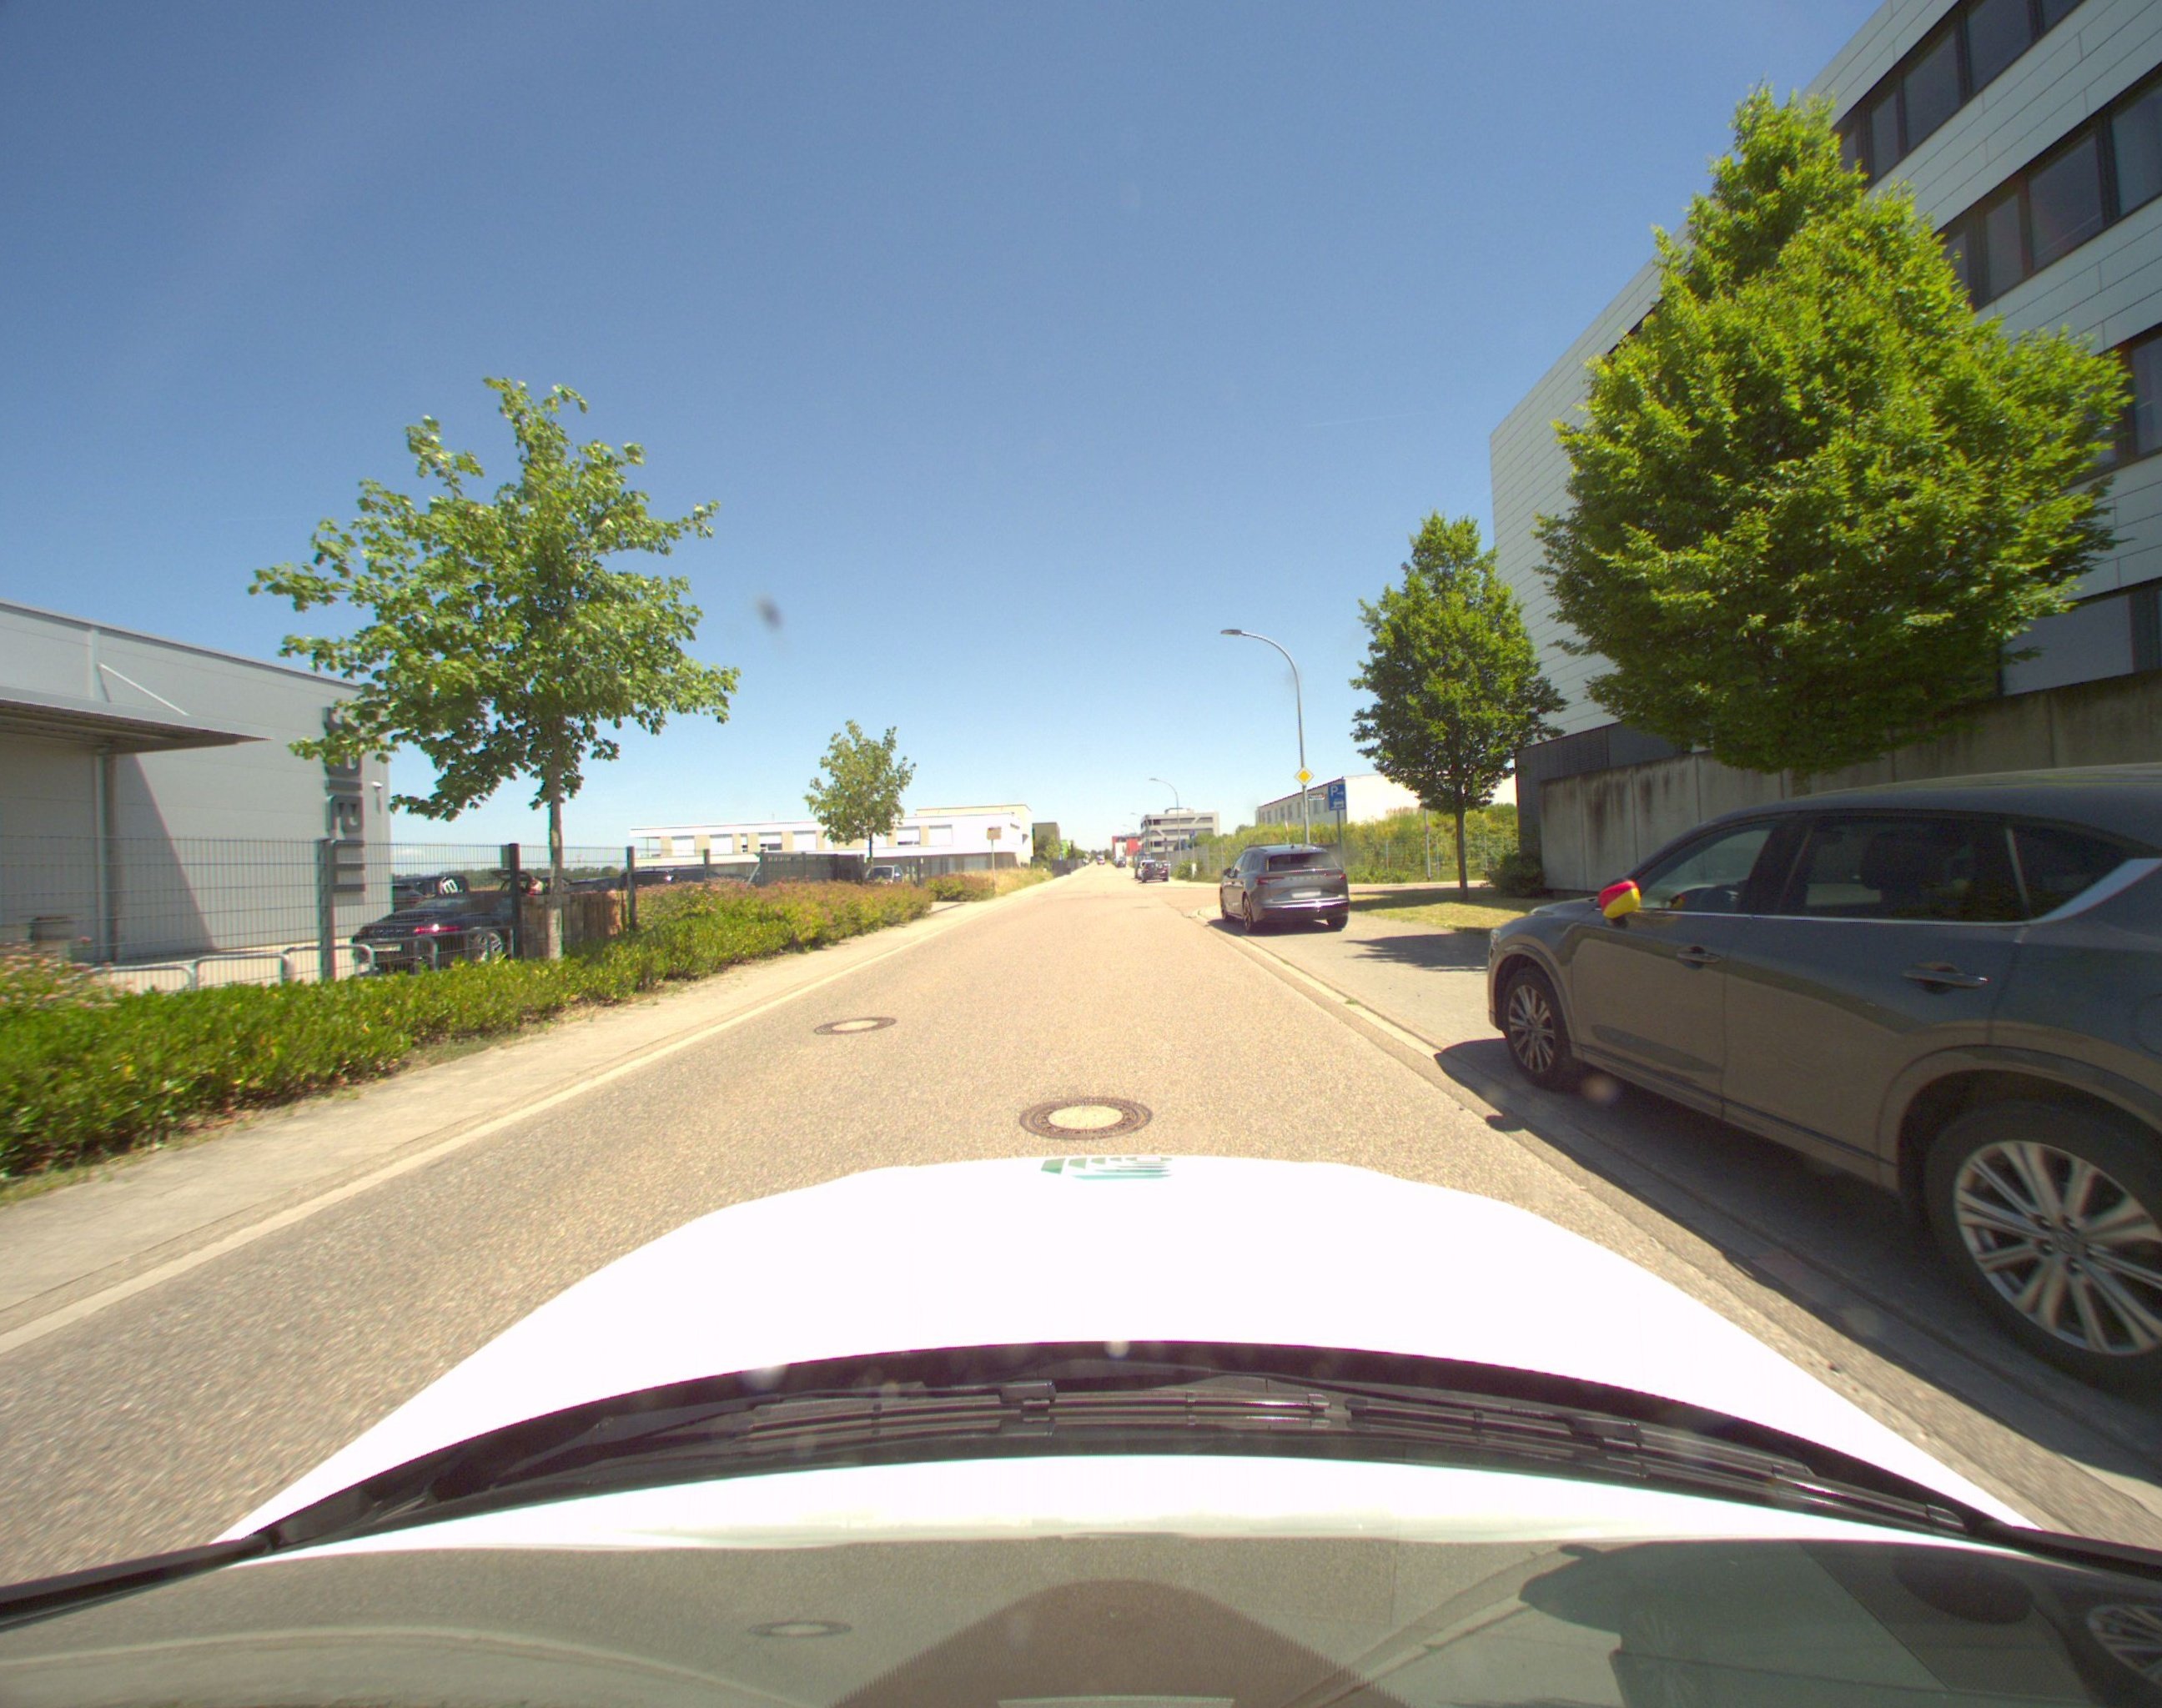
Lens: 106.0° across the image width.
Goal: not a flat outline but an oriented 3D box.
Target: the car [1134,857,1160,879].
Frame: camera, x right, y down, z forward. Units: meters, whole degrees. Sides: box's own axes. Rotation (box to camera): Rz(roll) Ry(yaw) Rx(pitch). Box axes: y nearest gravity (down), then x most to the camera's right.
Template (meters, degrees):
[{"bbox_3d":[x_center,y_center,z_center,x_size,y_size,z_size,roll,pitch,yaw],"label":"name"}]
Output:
[{"bbox_3d":[5.264,1.080,64.804,1.899,1.546,4.005,-4,0,4],"label":"car"}]

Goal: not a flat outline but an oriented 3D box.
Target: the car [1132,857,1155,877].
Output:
[{"bbox_3d":[5.468,1.077,71.241,1.899,1.546,4.005,-4,0,4],"label":"car"}]

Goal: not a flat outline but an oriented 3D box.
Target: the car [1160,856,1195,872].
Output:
[{"bbox_3d":[13.312,1.375,112.698,4.603,2.014,2.610,-1,0,4],"label":"car"}]

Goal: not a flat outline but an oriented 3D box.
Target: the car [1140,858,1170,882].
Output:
[{"bbox_3d":[5.034,1.066,55.868,1.899,1.448,4.005,-4,0,4],"label":"car"}]

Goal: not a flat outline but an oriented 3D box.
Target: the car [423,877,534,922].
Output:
[{"bbox_3d":[-25.289,1.881,34.360,1.667,1.605,3.998,-2,0,-1],"label":"car"}]

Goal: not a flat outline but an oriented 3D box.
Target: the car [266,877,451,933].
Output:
[{"bbox_3d":[-21.102,1.469,23.889,3.841,1.420,1.799,-2,-1,3],"label":"car"}]

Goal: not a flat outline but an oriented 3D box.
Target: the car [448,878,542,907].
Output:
[{"bbox_3d":[-28.310,1.830,39.515,1.820,1.134,3.758,-3,0,-1],"label":"car"}]

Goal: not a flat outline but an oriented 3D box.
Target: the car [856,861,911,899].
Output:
[{"bbox_3d":[-8.738,1.111,36.281,1.695,1.520,2.996,-3,0,-1],"label":"car"}]

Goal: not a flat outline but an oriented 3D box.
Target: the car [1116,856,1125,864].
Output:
[{"bbox_3d":[8.111,1.224,166.609,1.769,1.728,4.001,-1,0,2],"label":"car"}]

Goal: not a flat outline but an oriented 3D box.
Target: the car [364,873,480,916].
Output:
[{"bbox_3d":[-27.718,1.658,34.443,1.667,1.605,3.998,-2,0,-1],"label":"car"}]

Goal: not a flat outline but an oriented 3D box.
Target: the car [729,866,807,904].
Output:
[{"bbox_3d":[-13.335,1.284,34.958,1.796,1.440,3.998,-3,0,-1],"label":"car"}]

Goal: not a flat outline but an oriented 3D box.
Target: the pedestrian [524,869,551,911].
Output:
[{"bbox_3d":[-21.815,1.431,32.710,0.620,1.629,0.772,-2,-1,-12],"label":"pedestrian"}]

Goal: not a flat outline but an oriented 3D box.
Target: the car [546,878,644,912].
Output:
[{"bbox_3d":[-20.337,1.688,34.275,1.820,1.134,3.758,-3,0,-1],"label":"car"}]

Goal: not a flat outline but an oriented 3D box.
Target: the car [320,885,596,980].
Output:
[{"bbox_3d":[-11.033,1.314,14.852,1.789,1.281,4.003,-2,0,3],"label":"car"}]

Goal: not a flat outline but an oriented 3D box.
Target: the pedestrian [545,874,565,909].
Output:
[{"bbox_3d":[-21.735,1.539,33.653,0.489,1.413,0.494,-2,-1,-13],"label":"pedestrian"}]

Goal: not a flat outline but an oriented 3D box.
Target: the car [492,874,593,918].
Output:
[{"bbox_3d":[-23.039,1.749,35.027,1.667,1.605,3.998,-3,0,-1],"label":"car"}]

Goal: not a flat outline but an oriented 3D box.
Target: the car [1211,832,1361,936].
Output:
[{"bbox_3d":[3.934,0.519,16.461,1.798,1.662,4.608,-5,0,1],"label":"car"}]

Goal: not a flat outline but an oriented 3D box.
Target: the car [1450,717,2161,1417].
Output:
[{"bbox_3d":[3.458,0.447,3.554,1.751,1.662,4.365,-4,0,2],"label":"car"}]
